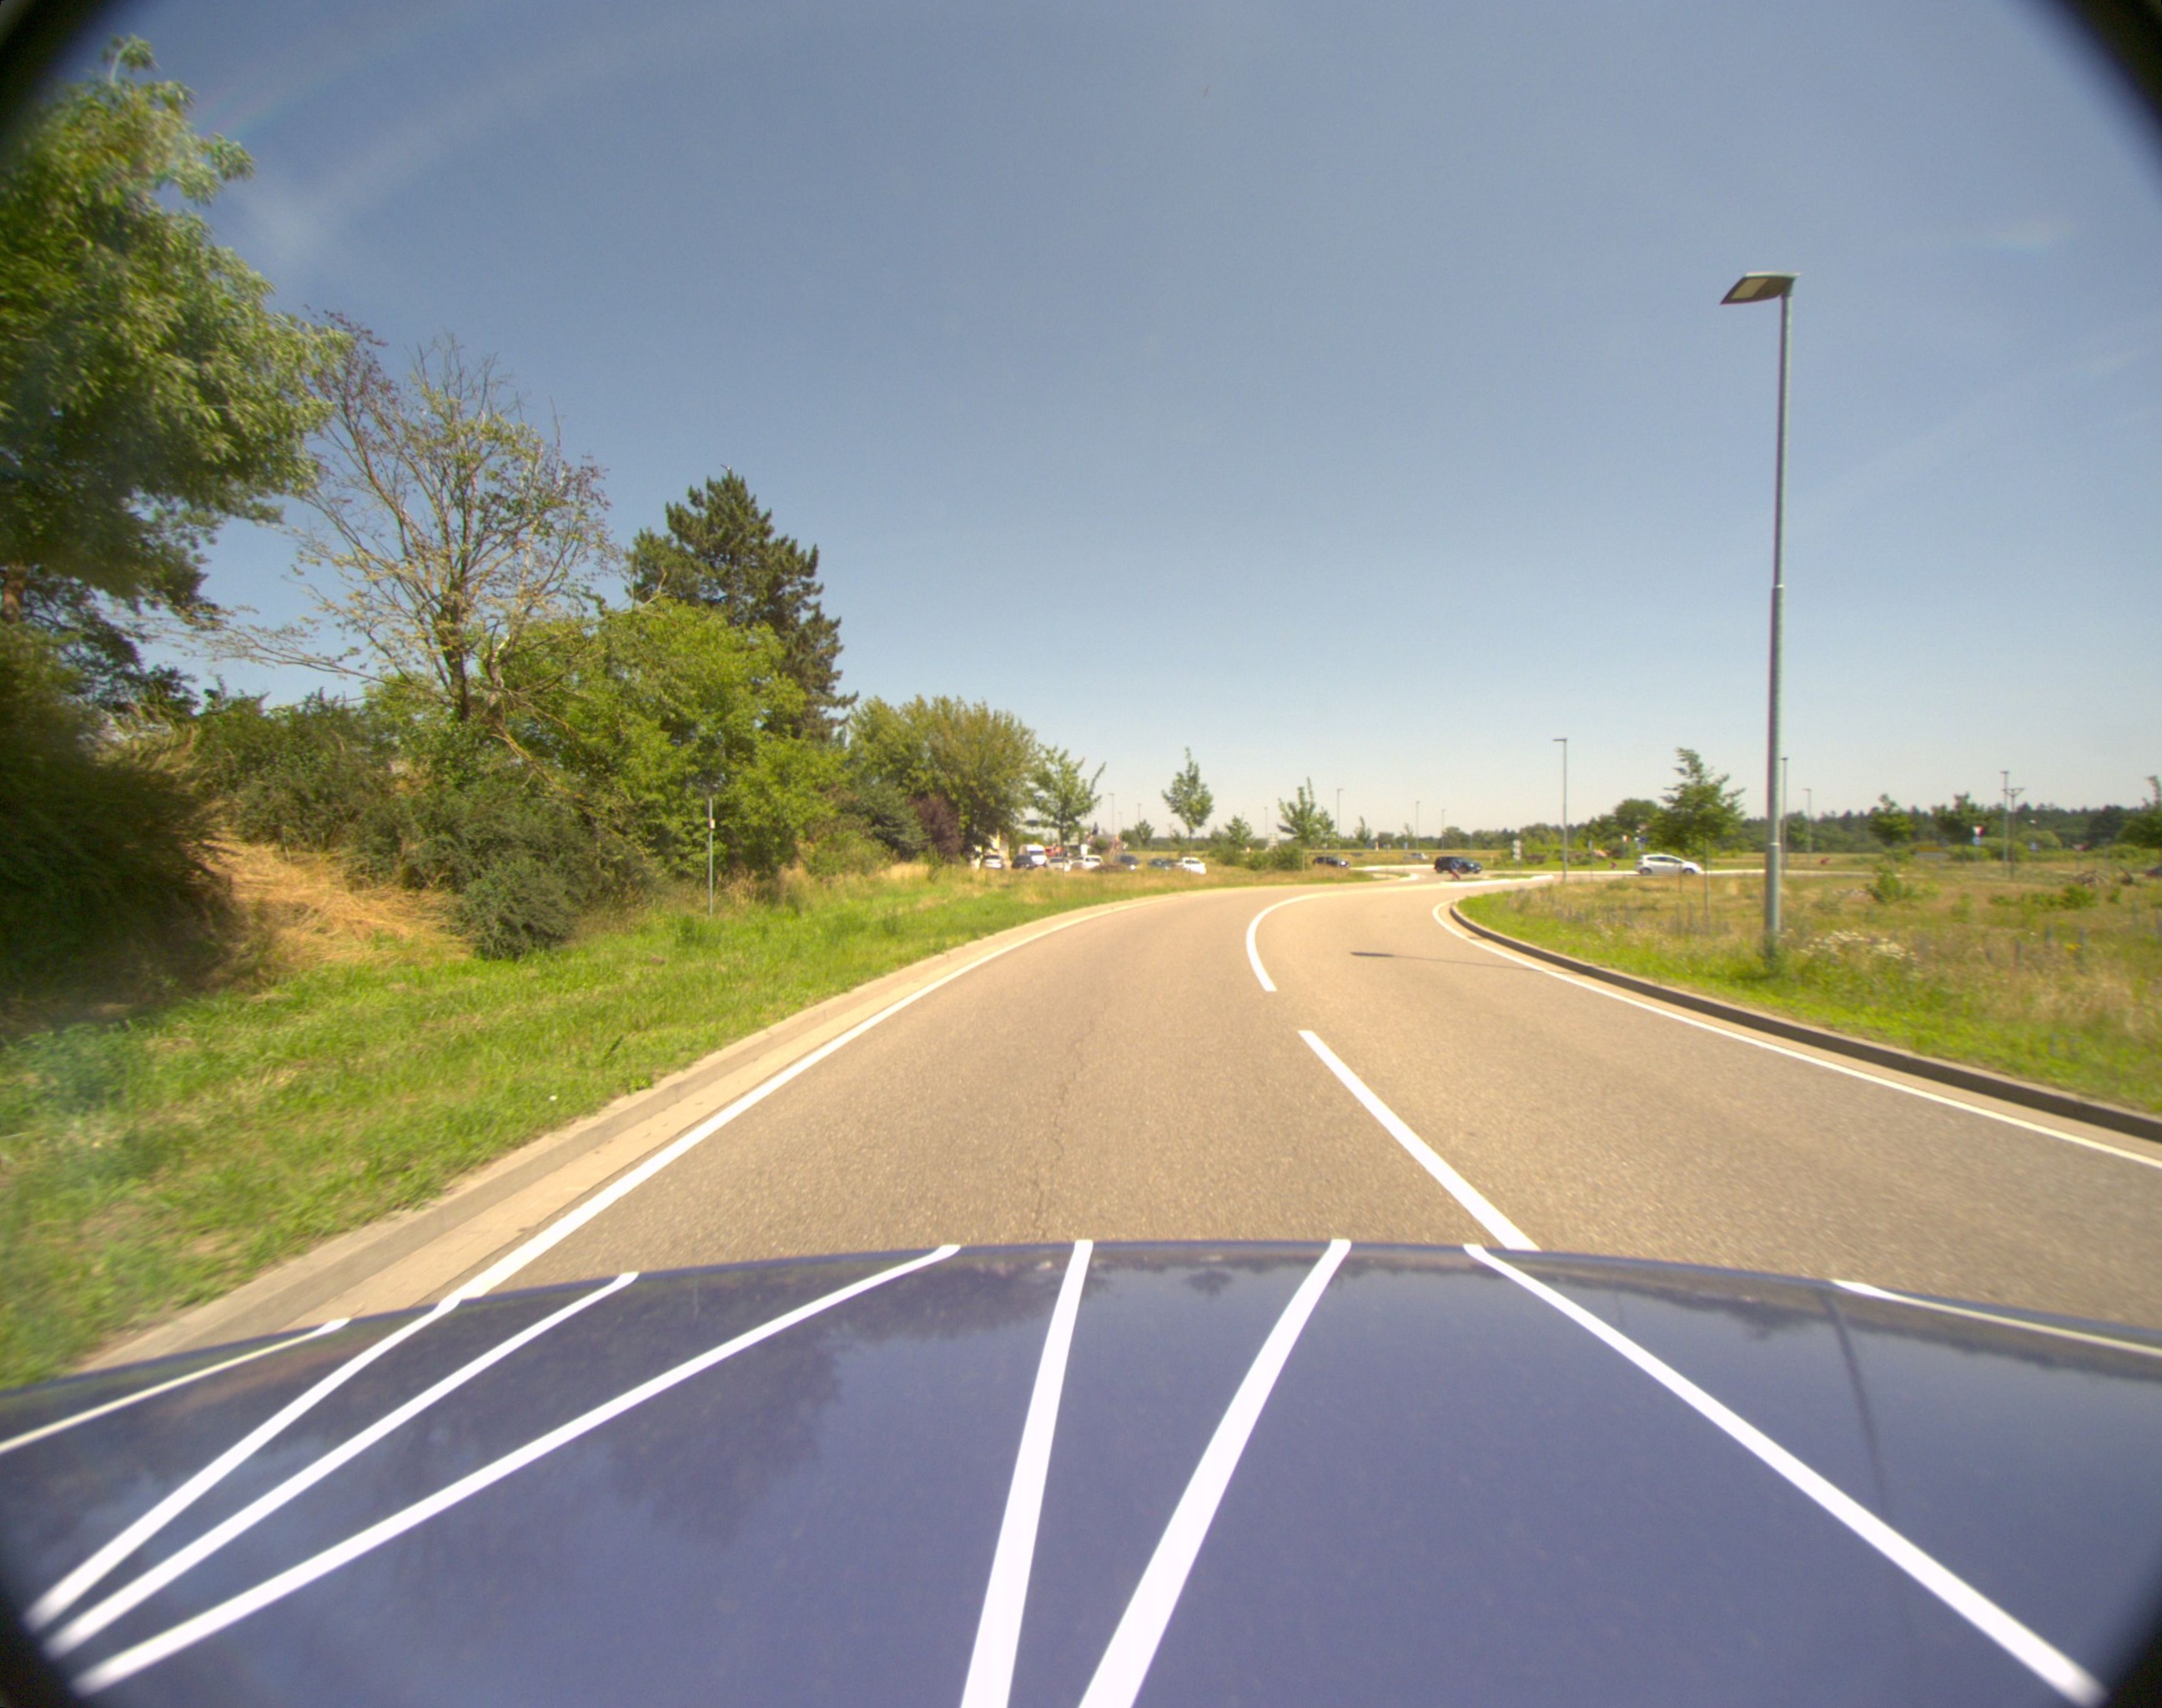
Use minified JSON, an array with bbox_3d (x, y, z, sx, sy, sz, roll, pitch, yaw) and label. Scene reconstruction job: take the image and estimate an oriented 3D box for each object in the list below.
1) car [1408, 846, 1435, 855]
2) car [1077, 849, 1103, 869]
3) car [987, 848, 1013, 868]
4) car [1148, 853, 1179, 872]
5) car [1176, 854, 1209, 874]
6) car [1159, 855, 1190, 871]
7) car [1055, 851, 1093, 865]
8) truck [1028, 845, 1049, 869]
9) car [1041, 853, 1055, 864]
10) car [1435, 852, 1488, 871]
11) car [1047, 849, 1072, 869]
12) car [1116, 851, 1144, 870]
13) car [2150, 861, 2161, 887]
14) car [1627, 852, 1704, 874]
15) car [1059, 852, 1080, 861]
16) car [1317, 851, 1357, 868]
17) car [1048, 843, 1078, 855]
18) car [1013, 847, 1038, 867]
[{"bbox_3d":[58.060,-0.685,129.594,2.002,1.477,3.992,1,1,-22],"label":"car"},{"bbox_3d":[0.672,0.403,58.368,1.773,1.434,3.966,1,-1,-2],"label":"car"},{"bbox_3d":[-6.151,0.320,58.087,1.773,1.434,3.966,1,-1,-2],"label":"car"},{"bbox_3d":[6.297,0.656,58.447,1.773,1.434,3.966,1,-1,-2],"label":"car"},{"bbox_3d":[8.576,0.728,58.659,1.747,1.419,3.998,1,1,-4],"label":"car"},{"bbox_3d":[8.411,0.784,68.545,1.747,1.304,3.996,1,1,-9],"label":"car"},{"bbox_3d":[-0.773,0.425,81.569,3.988,1.385,1.654,1,1,39],"label":"car"},{"bbox_3d":[-4.781,0.298,85.019,2.236,2.492,5.633,1,1,-3],"label":"truck"},{"bbox_3d":[-4.794,0.619,110.120,1.854,1.487,3.997,1,1,-6],"label":"car"},{"bbox_3d":[34.458,0.683,68.912,1.724,1.553,4.142,-1,2,-24],"label":"car"},{"bbox_3d":[-1.629,0.408,57.143,1.773,1.434,3.966,1,-1,-3],"label":"car"},{"bbox_3d":[3.712,0.528,58.057,1.773,1.434,3.966,1,-1,-2],"label":"car"},{"bbox_3d":[64.238,1.198,42.832,1.872,1.426,4.508,-2,3,-33],"label":"car"},{"bbox_3d":[45.040,0.668,58.668,4.508,1.553,1.873,1,2,31],"label":"car"},{"bbox_3d":[-2.220,0.431,141.048,1.956,1.639,4.879,-1,0,-27],"label":"car"},{"bbox_3d":[28.804,0.610,85.670,1.871,1.812,4.511,-1,1,-22],"label":"car"},{"bbox_3d":[-3.943,-1.074,165.507,6.126,2.569,2.358,1,1,10],"label":"car"},{"bbox_3d":[-4.137,0.238,56.912,1.773,1.434,3.966,1,-1,-2],"label":"car"}]
